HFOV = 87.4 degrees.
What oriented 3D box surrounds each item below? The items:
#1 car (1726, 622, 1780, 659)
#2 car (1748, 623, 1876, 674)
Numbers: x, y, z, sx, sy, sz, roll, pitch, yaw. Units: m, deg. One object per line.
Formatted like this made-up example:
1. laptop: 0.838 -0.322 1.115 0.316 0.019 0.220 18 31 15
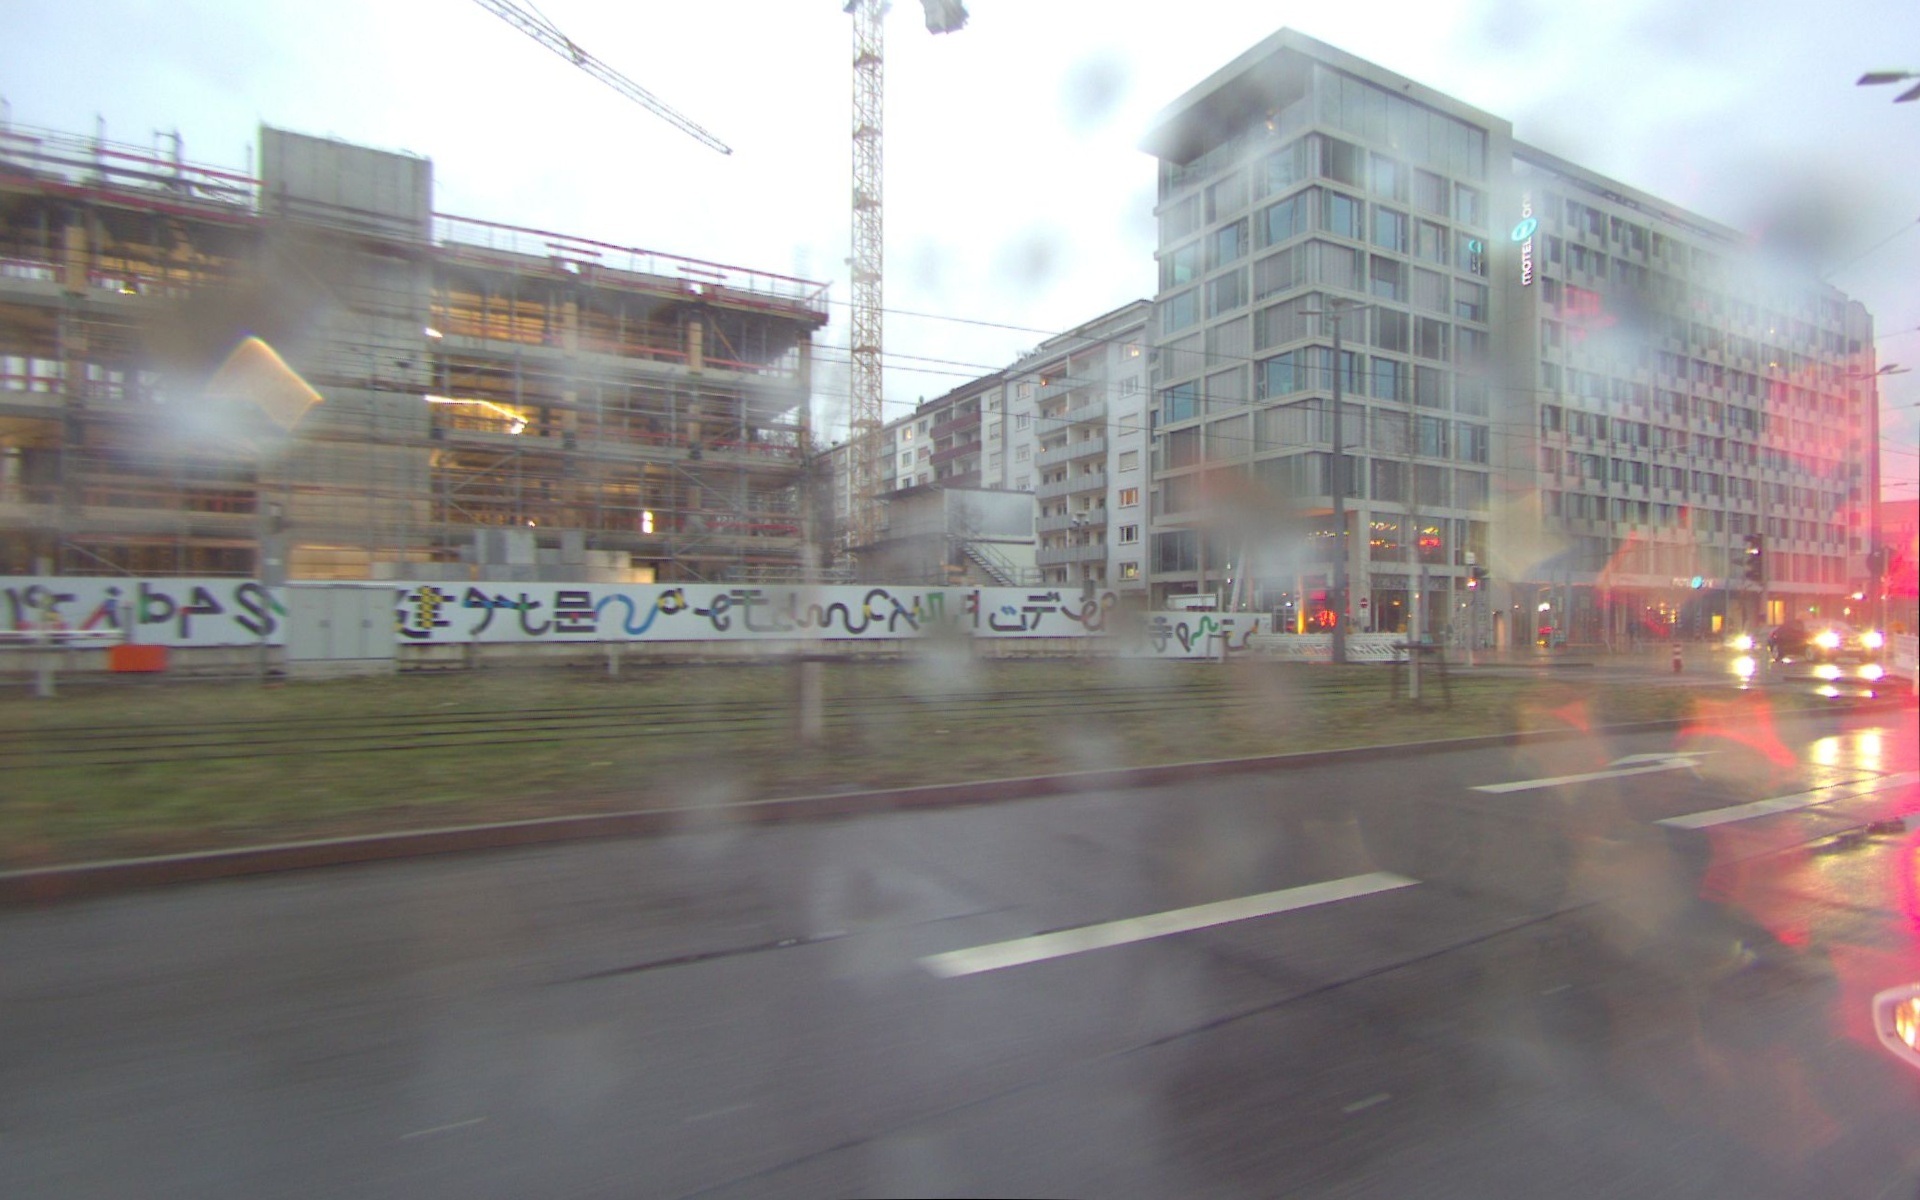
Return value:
1. car: 36.187 1.811 45.923 1.734 1.550 4.312 2 0 36
2. car: 31.770 1.759 37.632 1.863 1.743 4.713 1 -1 16
